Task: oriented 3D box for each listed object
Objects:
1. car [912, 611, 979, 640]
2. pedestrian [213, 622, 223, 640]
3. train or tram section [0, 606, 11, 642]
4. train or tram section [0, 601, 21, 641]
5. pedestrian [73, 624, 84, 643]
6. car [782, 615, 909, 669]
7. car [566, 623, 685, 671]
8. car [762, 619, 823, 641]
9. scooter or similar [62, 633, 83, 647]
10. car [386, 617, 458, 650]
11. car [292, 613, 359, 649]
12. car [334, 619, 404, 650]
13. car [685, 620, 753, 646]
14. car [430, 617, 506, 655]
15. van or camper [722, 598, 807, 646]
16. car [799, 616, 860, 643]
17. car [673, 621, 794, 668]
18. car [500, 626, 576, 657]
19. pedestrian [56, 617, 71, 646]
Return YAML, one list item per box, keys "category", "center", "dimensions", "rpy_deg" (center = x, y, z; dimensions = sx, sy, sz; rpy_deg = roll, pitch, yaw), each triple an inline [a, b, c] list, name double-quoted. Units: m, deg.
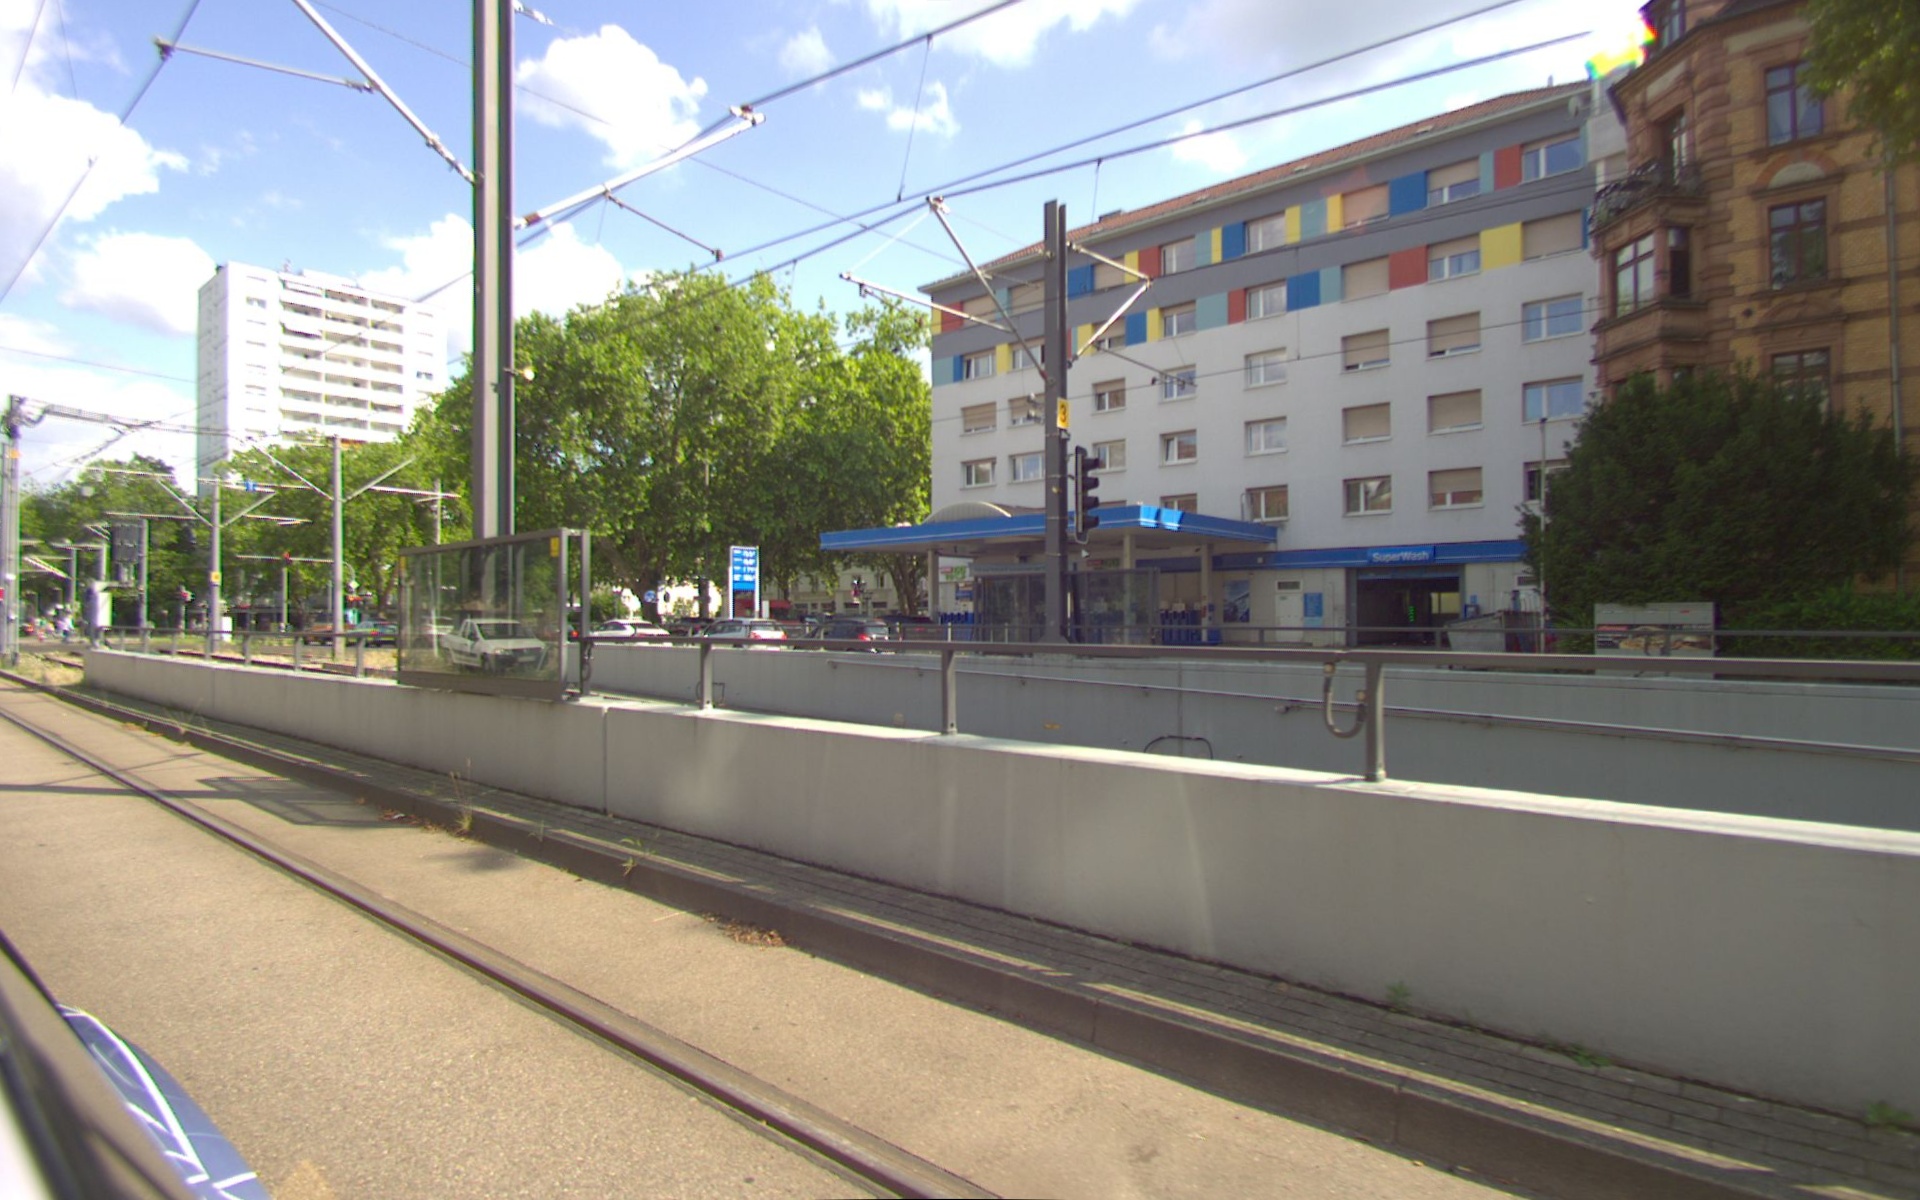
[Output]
- category: "car"
  center: [-1.070, 1.834, 72.302]
  dimensions: [4.679, 1.949, 1.973]
  rpy_deg: [-2, -4, 40]
- category: "pedestrian"
  center: [-72.624, 3.001, 99.032]
  dimensions: [0.648, 1.716, 0.662]
  rpy_deg: [-2, -2, 44]
- category: "train or tram section"
  center: [-99.435, 2.459, 103.552]
  dimensions: [11.182, 3.588, 2.775]
  rpy_deg: [-2, -2, 43]
- category: "train or tram section"
  center: [-91.262, 2.029, 95.765]
  dimensions: [11.378, 3.588, 2.765]
  rpy_deg: [-2, -2, 44]
- category: "pedestrian"
  center: [-79.961, 3.048, 91.775]
  dimensions: [0.648, 1.716, 0.662]
  rpy_deg: [-2, -2, 44]
- category: "car"
  center: [-3.322, 1.185, 28.830]
  dimensions: [1.649, 1.427, 3.785]
  rpy_deg: [1, -2, -43]
- category: "car"
  center: [-12.742, 1.770, 38.394]
  dimensions: [5.074, 1.619, 1.927]
  rpy_deg: [-3, 0, 41]
- category: "car"
  center: [-10.295, 1.864, 62.082]
  dimensions: [3.997, 1.304, 1.458]
  rpy_deg: [-2, -4, 40]
- category: "scooter or similar"
  center: [-52.934, 2.371, 60.376]
  dimensions: [0.553, 0.810, 0.830]
  rpy_deg: [-2, -2, 37]
- category: "car"
  center: [-27.582, 1.681, 51.831]
  dimensions: [4.677, 1.619, 1.741]
  rpy_deg: [-2, -2, 41]
- category: "car"
  center: [-38.578, 1.903, 61.476]
  dimensions: [5.333, 2.002, 2.053]
  rpy_deg: [-4, -3, 41]
- category: "car"
  center: [-33.212, 1.982, 56.841]
  dimensions: [5.151, 1.665, 1.847]
  rpy_deg: [-2, -4, 42]
- category: "car"
  center: [-13.754, 1.869, 57.645]
  dimensions: [3.997, 1.421, 1.734]
  rpy_deg: [-2, -2, 40]
- category: "car"
  center: [-22.779, 1.664, 46.821]
  dimensions: [4.141, 1.619, 1.694]
  rpy_deg: [-4, -3, 41]
- category: "van or camper"
  center: [-11.545, 1.313, 59.462]
  dimensions: [5.349, 2.662, 2.079]
  rpy_deg: [-2, -4, 43]
- category: "car"
  center: [-8.245, 1.881, 63.800]
  dimensions: [3.997, 1.616, 1.510]
  rpy_deg: [-2, -3, 40]
- category: "car"
  center: [-7.515, 1.451, 33.343]
  dimensions: [4.405, 1.427, 1.703]
  rpy_deg: [-2, -3, 43]
- category: "car"
  center: [-17.801, 1.735, 42.660]
  dimensions: [3.633, 1.198, 1.599]
  rpy_deg: [-2, -2, 43]
- category: "pedestrian"
  center: [-53.186, 1.875, 60.055]
  dimensions: [0.556, 1.746, 0.521]
  rpy_deg: [-2, -3, 36]
